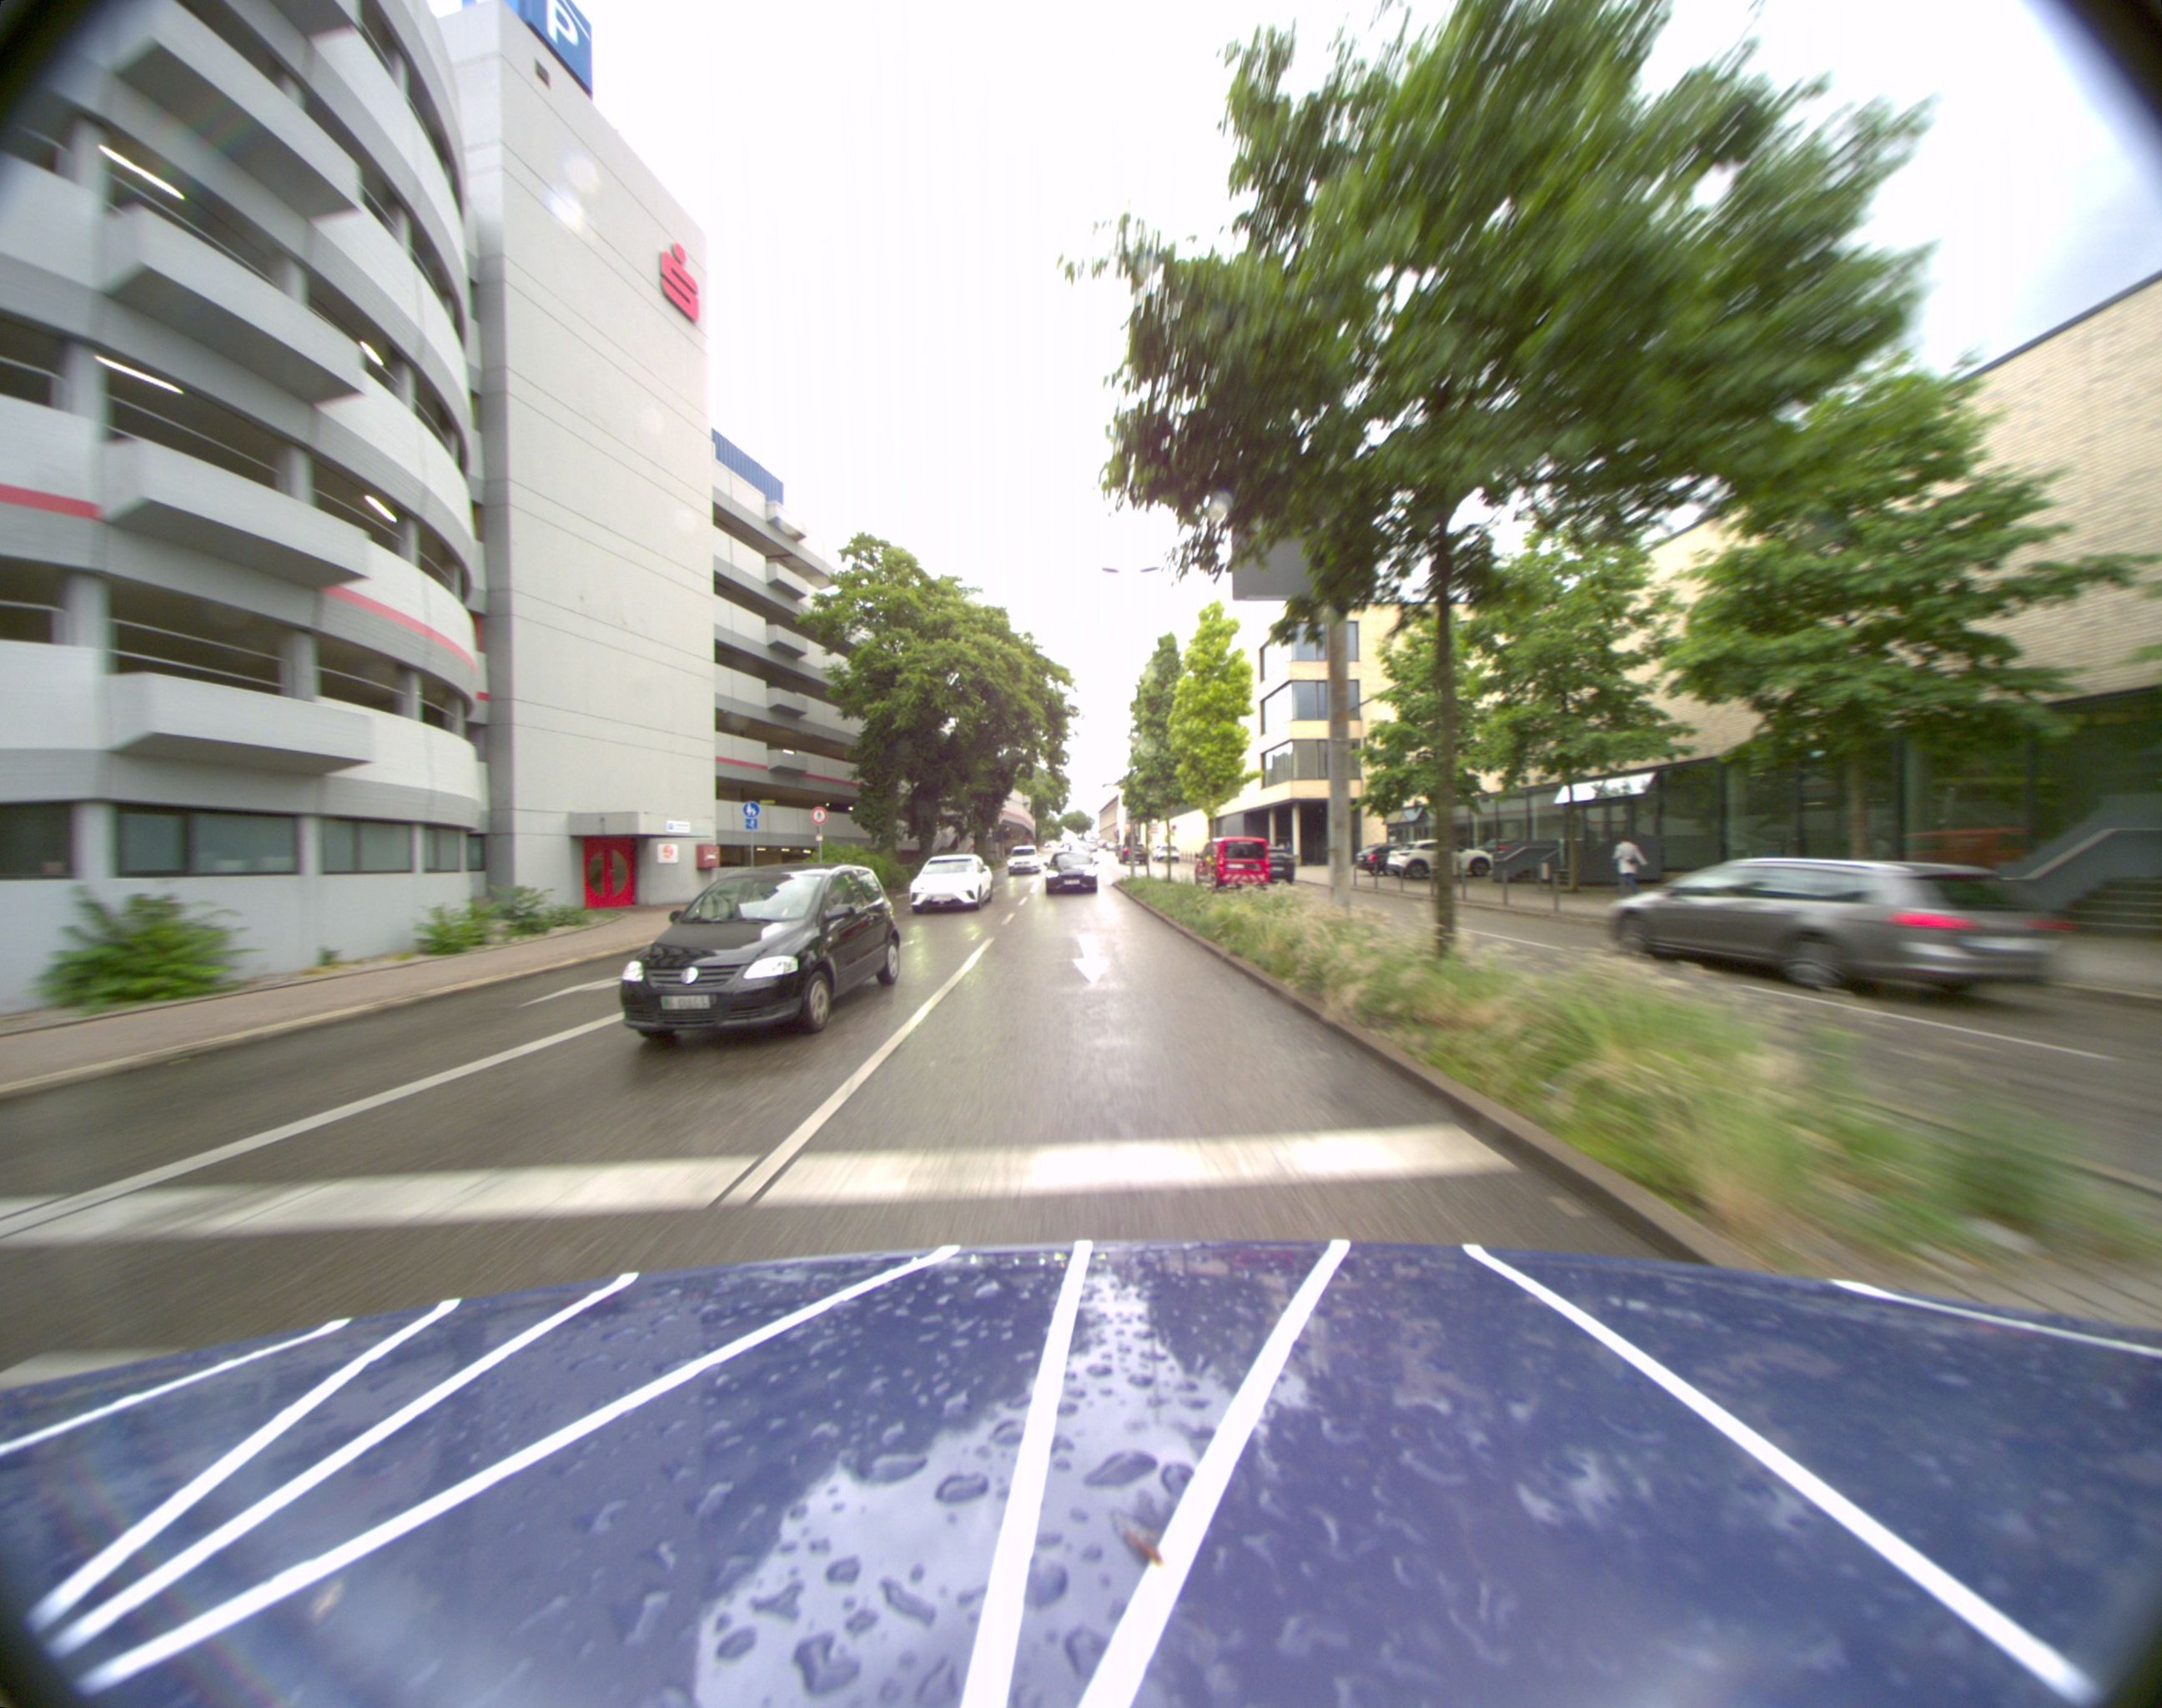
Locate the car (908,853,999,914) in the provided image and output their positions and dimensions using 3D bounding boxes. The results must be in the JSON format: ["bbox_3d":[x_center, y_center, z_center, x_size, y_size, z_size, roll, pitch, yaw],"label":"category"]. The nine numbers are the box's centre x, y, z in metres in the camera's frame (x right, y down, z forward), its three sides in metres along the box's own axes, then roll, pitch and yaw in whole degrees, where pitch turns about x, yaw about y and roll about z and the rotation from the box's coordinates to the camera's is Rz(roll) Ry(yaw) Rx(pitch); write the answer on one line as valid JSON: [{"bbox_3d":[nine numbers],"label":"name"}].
[{"bbox_3d":[-3.511,0.771,21.669,1.805,1.469,4.209,-3,0,0],"label":"car"}]

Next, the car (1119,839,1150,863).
[{"bbox_3d":[3.923,-0.225,56.494,1.676,1.598,4.299,2,0,-3],"label":"car"}]

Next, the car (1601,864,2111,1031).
[{"bbox_3d":[8.786,0.921,9.304,1.676,1.461,4.299,1,0,-3],"label":"car"}]

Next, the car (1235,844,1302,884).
[{"bbox_3d":[8.315,0.402,34.099,1.676,1.598,4.299,2,0,-3],"label":"car"}]

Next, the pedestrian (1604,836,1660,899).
[{"bbox_3d":[14.856,0.350,20.503,0.804,1.638,0.976,-2,1,5],"label":"pedestrian"}]

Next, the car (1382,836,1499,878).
[{"bbox_3d":[15.142,0.127,32.215,3.996,1.576,2.000,-2,1,3],"label":"car"}]

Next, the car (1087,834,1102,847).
[{"bbox_3d":[1.982,-2.003,113.662,1.855,1.841,4.299,2,0,-3],"label":"car"}]

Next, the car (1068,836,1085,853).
[{"bbox_3d":[-0.520,-1.035,85.837,1.805,1.818,3.949,-3,0,0],"label":"car"}]

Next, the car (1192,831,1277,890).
[{"bbox_3d":[5.277,0.198,26.730,1.855,1.841,4.299,2,0,-3],"label":"car"}]

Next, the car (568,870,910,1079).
[{"bbox_3d":[-3.127,0.998,7.871,1.677,1.484,3.745,-3,0,2],"label":"car"}]

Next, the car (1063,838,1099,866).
[{"bbox_3d":[0.064,-0.100,48.675,1.998,1.716,4.401,0,0,4],"label":"car"}]

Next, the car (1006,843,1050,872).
[{"bbox_3d":[-3.143,0.223,46.013,1.998,1.716,4.401,0,0,4],"label":"car"}]

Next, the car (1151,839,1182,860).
[{"bbox_3d":[7.124,-0.359,63.751,1.776,1.598,4.299,2,0,-3],"label":"car"}]

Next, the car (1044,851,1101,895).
[{"bbox_3d":[-0.399,0.607,27.515,1.739,1.380,4.580,-2,1,-4],"label":"car"}]

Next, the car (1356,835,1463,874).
[{"bbox_3d":[14.855,0.003,34.543,3.996,1.576,2.000,-2,1,3],"label":"car"}]

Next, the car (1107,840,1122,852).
[{"bbox_3d":[5.095,-1.210,116.835,1.855,1.713,4.299,2,0,-3],"label":"car"}]
